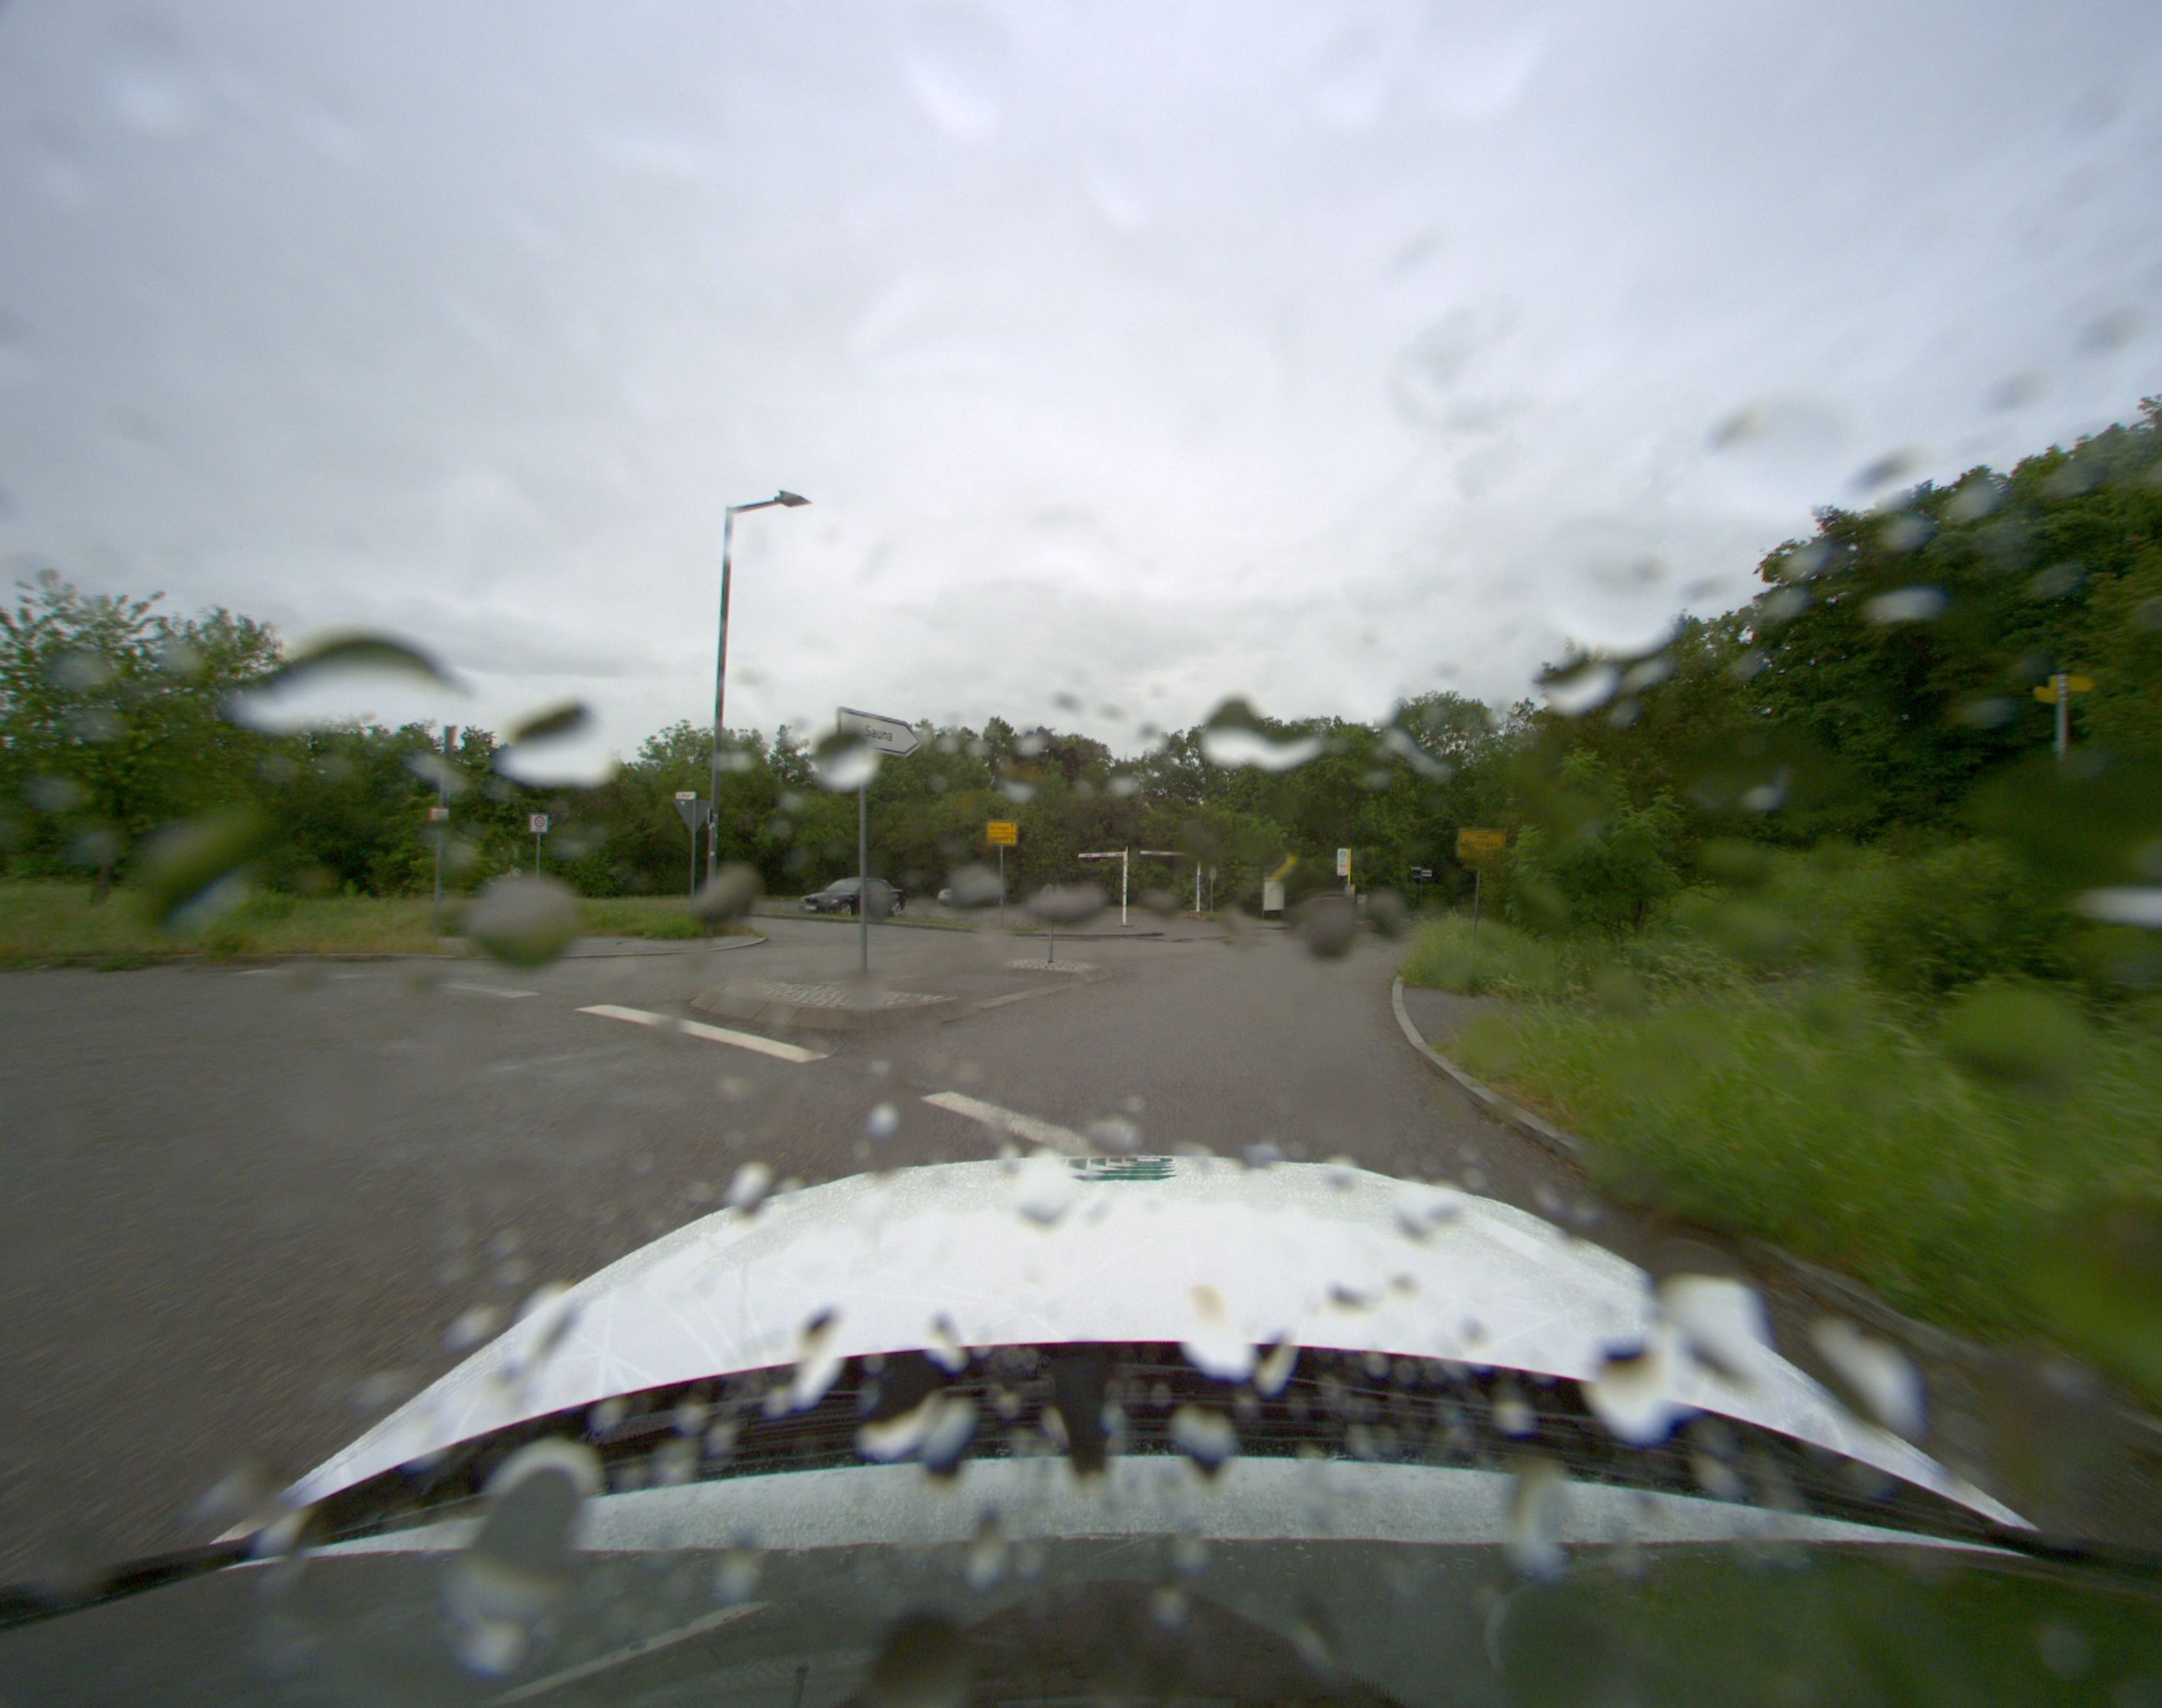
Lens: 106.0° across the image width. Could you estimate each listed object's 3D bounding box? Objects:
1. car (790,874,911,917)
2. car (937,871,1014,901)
[{"bbox_3d":[-7.820,1.443,28.052,1.606,1.355,4.212,1,-3,24],"label":"car"},{"bbox_3d":[-5.048,1.534,39.414,1.587,1.355,4.146,1,-2,27],"label":"car"}]
